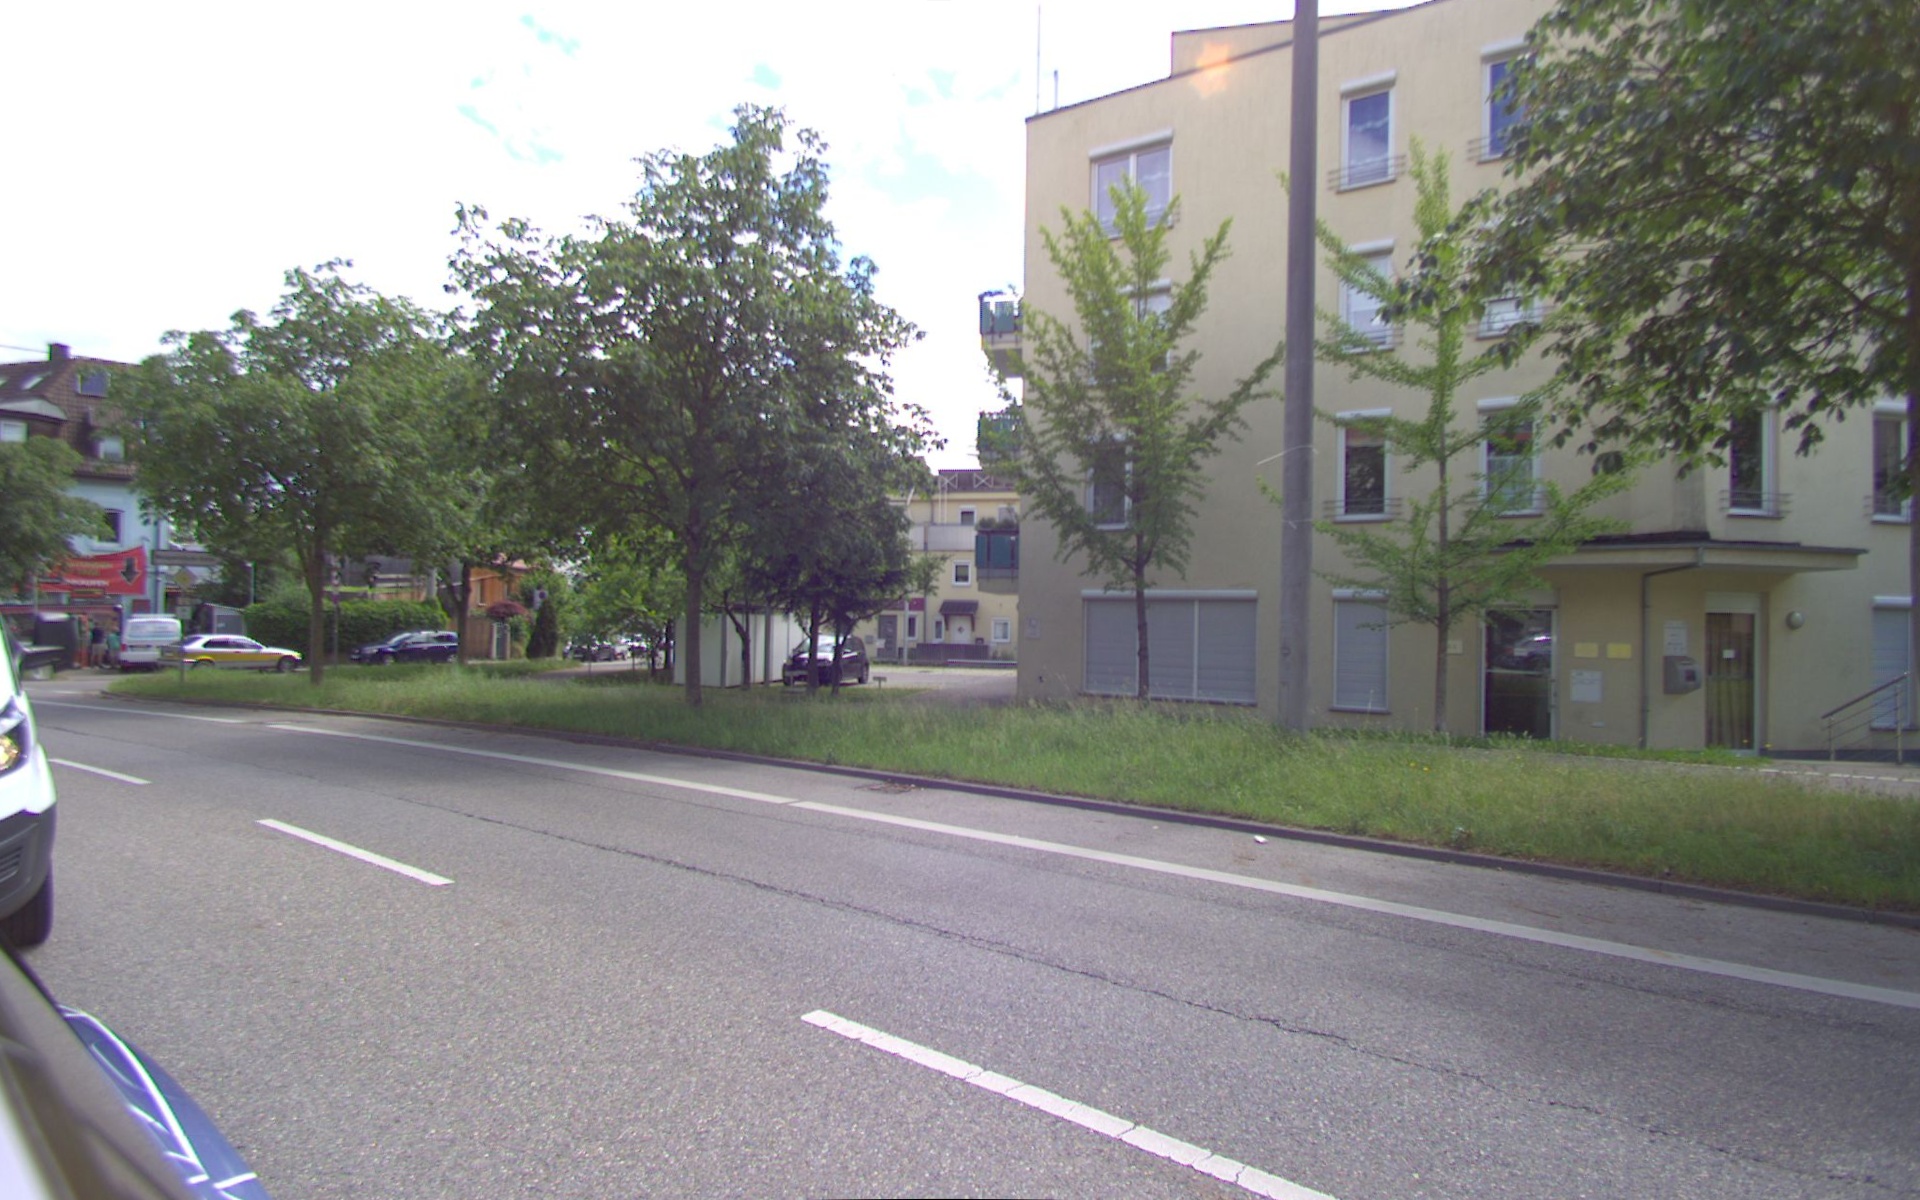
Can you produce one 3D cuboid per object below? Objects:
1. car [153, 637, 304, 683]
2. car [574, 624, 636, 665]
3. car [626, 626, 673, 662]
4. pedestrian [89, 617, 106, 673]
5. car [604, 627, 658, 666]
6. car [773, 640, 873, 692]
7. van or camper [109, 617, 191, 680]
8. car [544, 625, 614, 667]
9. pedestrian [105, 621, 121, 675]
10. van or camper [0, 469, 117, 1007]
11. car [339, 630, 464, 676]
[{"bbox_3d":[-25.304,2.034,35.165,1.529,1.332,4.008,-1,0,27],"label":"car"},{"bbox_3d":[-19.246,2.382,55.074,1.972,2.029,4.000,-1,0,0],"label":"car"},{"bbox_3d":[-19.563,2.757,63.947,1.870,2.029,4.002,-1,0,-2],"label":"car"},{"bbox_3d":[-31.761,1.642,37.268,0.363,2.029,0.419,-1,0,41],"label":"pedestrian"},{"bbox_3d":[-19.285,2.690,59.513,1.971,2.029,4.001,-1,0,-1],"label":"car"},{"bbox_3d":[-3.956,1.897,29.843,1.774,1.431,3.986,-1,-2,10],"label":"car"},{"bbox_3d":[-29.445,1.708,36.749,3.811,2.105,1.770,-1,0,43],"label":"van or camper"},{"bbox_3d":[-19.096,2.291,50.905,1.954,2.029,3.999,0,-2,0],"label":"car"},{"bbox_3d":[-31.448,1.771,37.568,0.443,2.005,0.378,-1,0,41],"label":"pedestrian"},{"bbox_3d":[-6.003,0.553,4.948,5.098,2.029,2.001,-2,-3,40],"label":"van or camper"},{"bbox_3d":[-21.766,2.036,39.568,1.715,1.695,3.928,-1,-2,37],"label":"car"}]
